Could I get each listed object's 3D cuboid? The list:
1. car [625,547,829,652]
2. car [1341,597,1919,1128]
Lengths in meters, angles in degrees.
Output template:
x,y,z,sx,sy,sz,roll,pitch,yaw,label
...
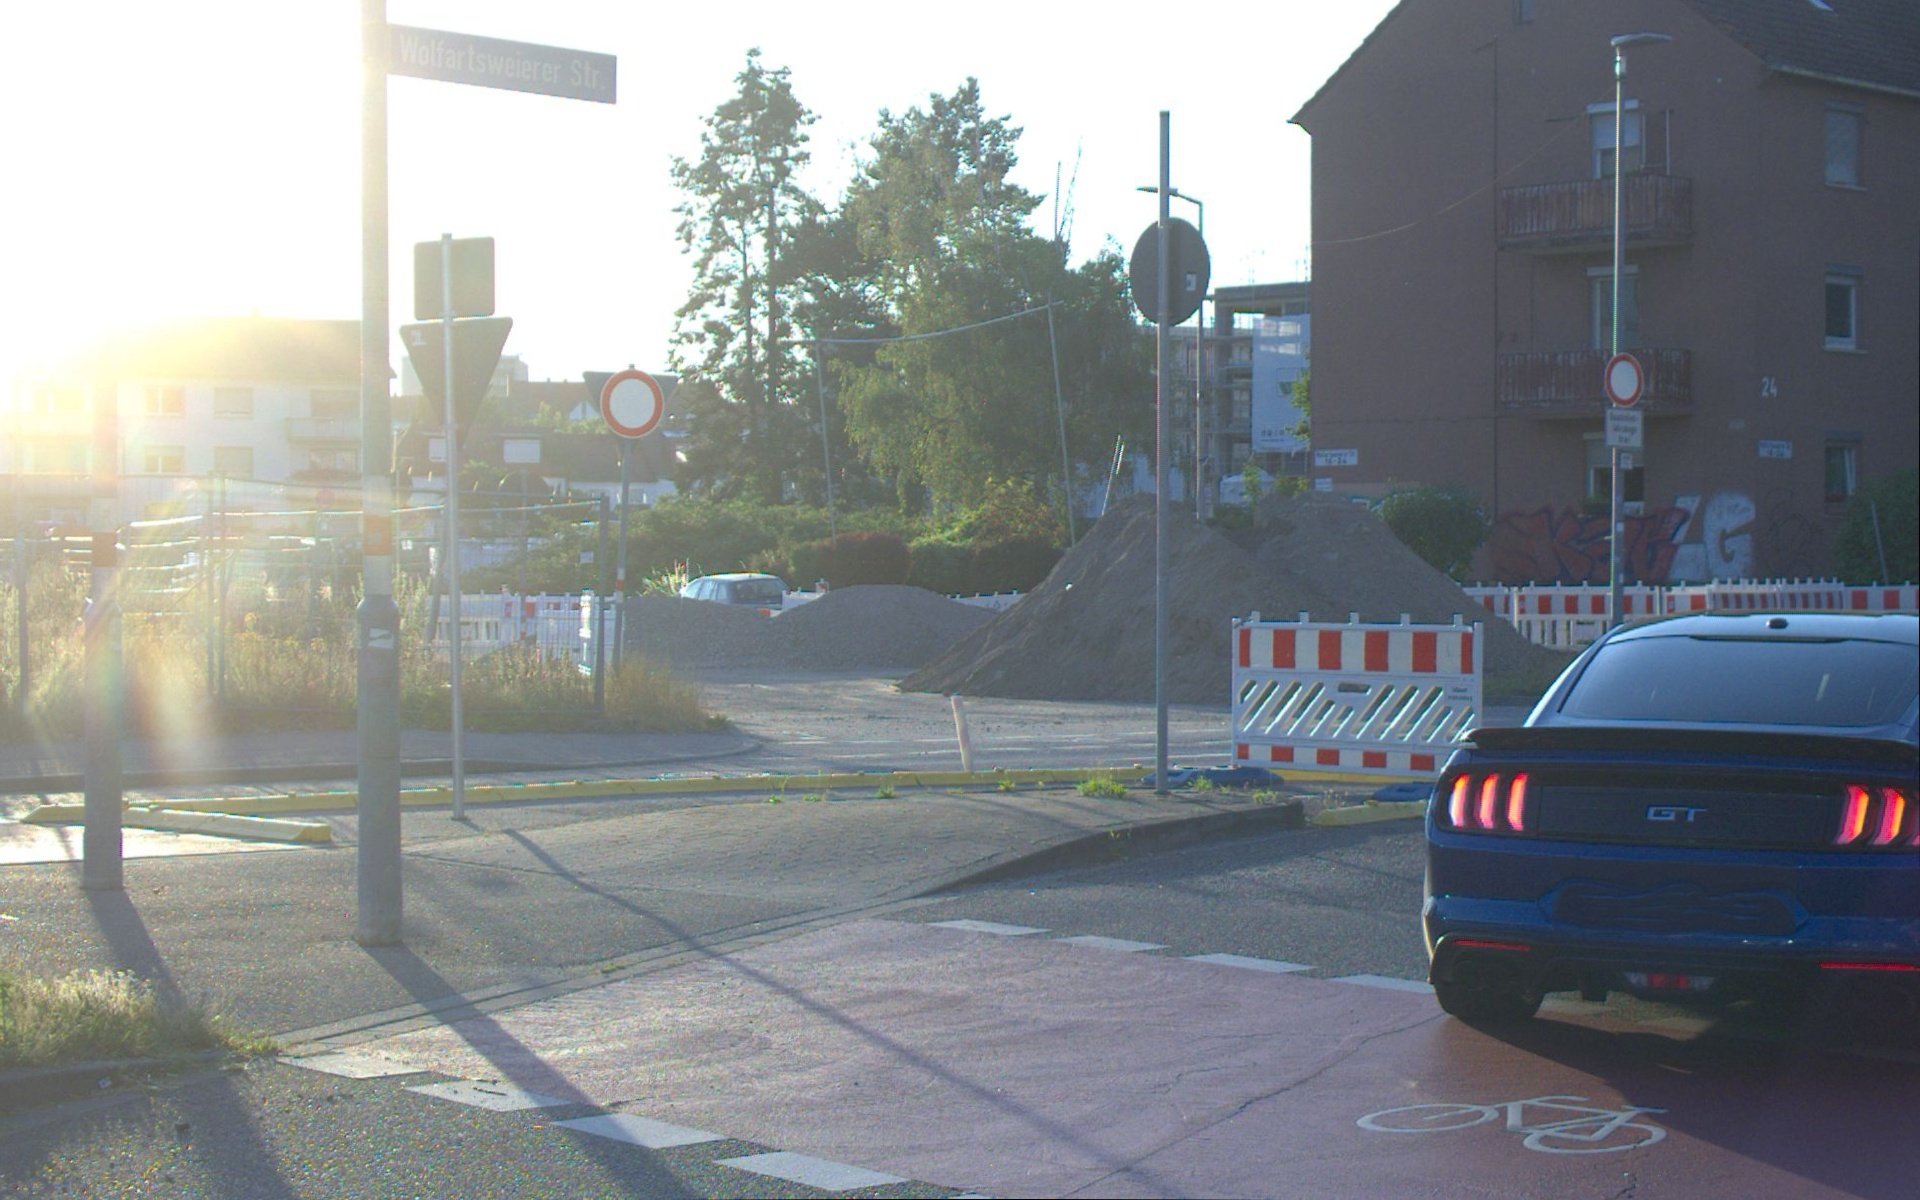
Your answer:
x,y,z,sx,sy,sz,roll,pitch,yaw,label
-3.957,-0.039,57.764,1.993,1.700,4.001,0,1,-27,car
2.990,0.730,11.963,1.954,1.337,4.665,1,2,24,car
